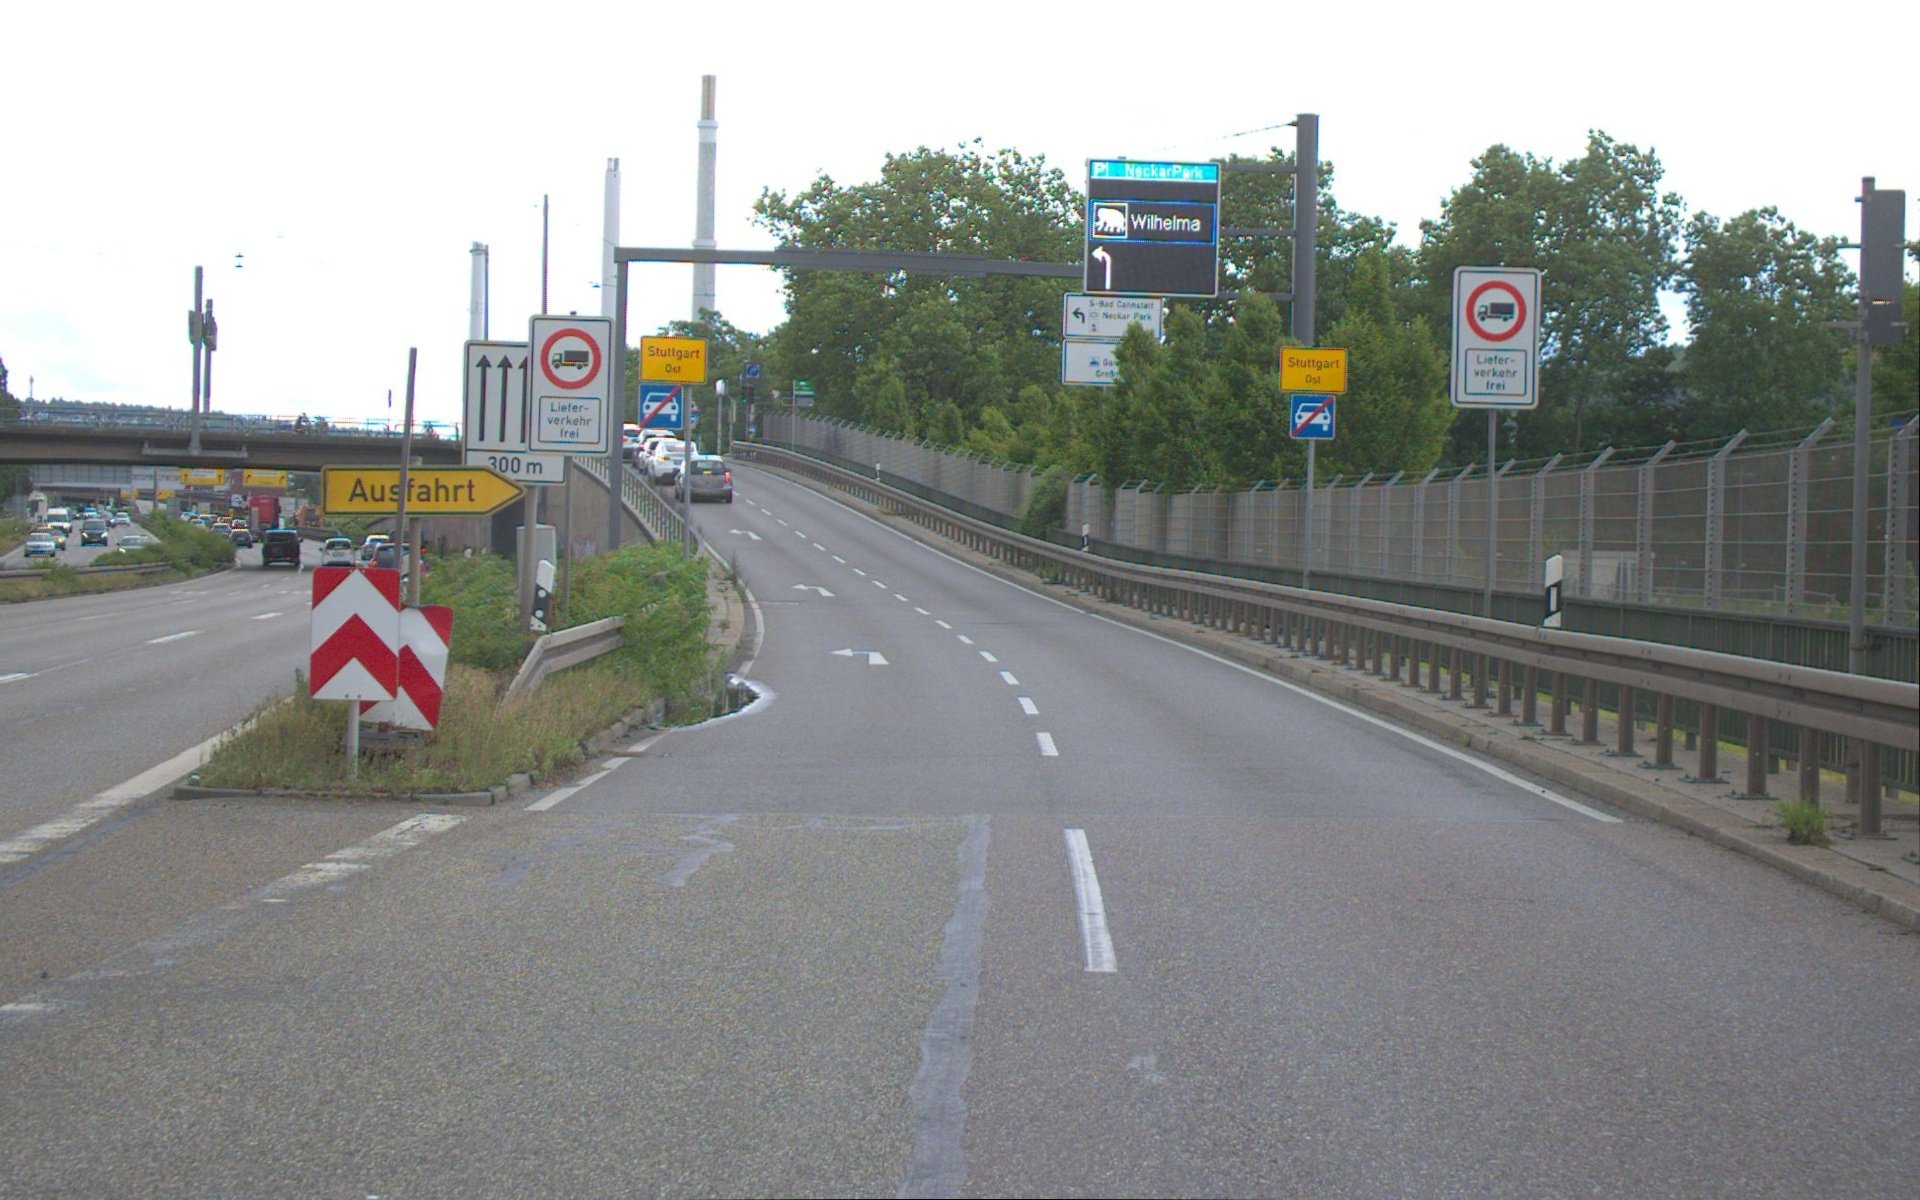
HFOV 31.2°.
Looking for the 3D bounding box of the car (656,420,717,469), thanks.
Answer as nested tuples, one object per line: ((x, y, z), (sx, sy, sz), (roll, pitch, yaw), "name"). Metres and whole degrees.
((-10.207, -5.790, 128.073), (1.993, 1.597, 4.002), (0, 6, -8), "car")

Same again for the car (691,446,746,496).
((-8.197, -4.379, 116.956), (1.749, 1.575, 4.086), (3, 1, -3), "car")

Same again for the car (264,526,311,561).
((-35.084, -2.965, 179.416), (1.993, 1.678, 4.001), (2, 2, -5), "car")

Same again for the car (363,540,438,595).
((-16.526, -0.976, 101.442), (1.993, 1.415, 4.002), (2, 2, -12), "car")

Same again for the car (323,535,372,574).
((-29.660, -2.202, 166.595), (1.993, 1.678, 4.001), (2, 2, -5), "car")

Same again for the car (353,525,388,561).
((-34.750, -3.373, 202.594), (1.917, 2.007, 4.001), (3, 1, -10), "car")
